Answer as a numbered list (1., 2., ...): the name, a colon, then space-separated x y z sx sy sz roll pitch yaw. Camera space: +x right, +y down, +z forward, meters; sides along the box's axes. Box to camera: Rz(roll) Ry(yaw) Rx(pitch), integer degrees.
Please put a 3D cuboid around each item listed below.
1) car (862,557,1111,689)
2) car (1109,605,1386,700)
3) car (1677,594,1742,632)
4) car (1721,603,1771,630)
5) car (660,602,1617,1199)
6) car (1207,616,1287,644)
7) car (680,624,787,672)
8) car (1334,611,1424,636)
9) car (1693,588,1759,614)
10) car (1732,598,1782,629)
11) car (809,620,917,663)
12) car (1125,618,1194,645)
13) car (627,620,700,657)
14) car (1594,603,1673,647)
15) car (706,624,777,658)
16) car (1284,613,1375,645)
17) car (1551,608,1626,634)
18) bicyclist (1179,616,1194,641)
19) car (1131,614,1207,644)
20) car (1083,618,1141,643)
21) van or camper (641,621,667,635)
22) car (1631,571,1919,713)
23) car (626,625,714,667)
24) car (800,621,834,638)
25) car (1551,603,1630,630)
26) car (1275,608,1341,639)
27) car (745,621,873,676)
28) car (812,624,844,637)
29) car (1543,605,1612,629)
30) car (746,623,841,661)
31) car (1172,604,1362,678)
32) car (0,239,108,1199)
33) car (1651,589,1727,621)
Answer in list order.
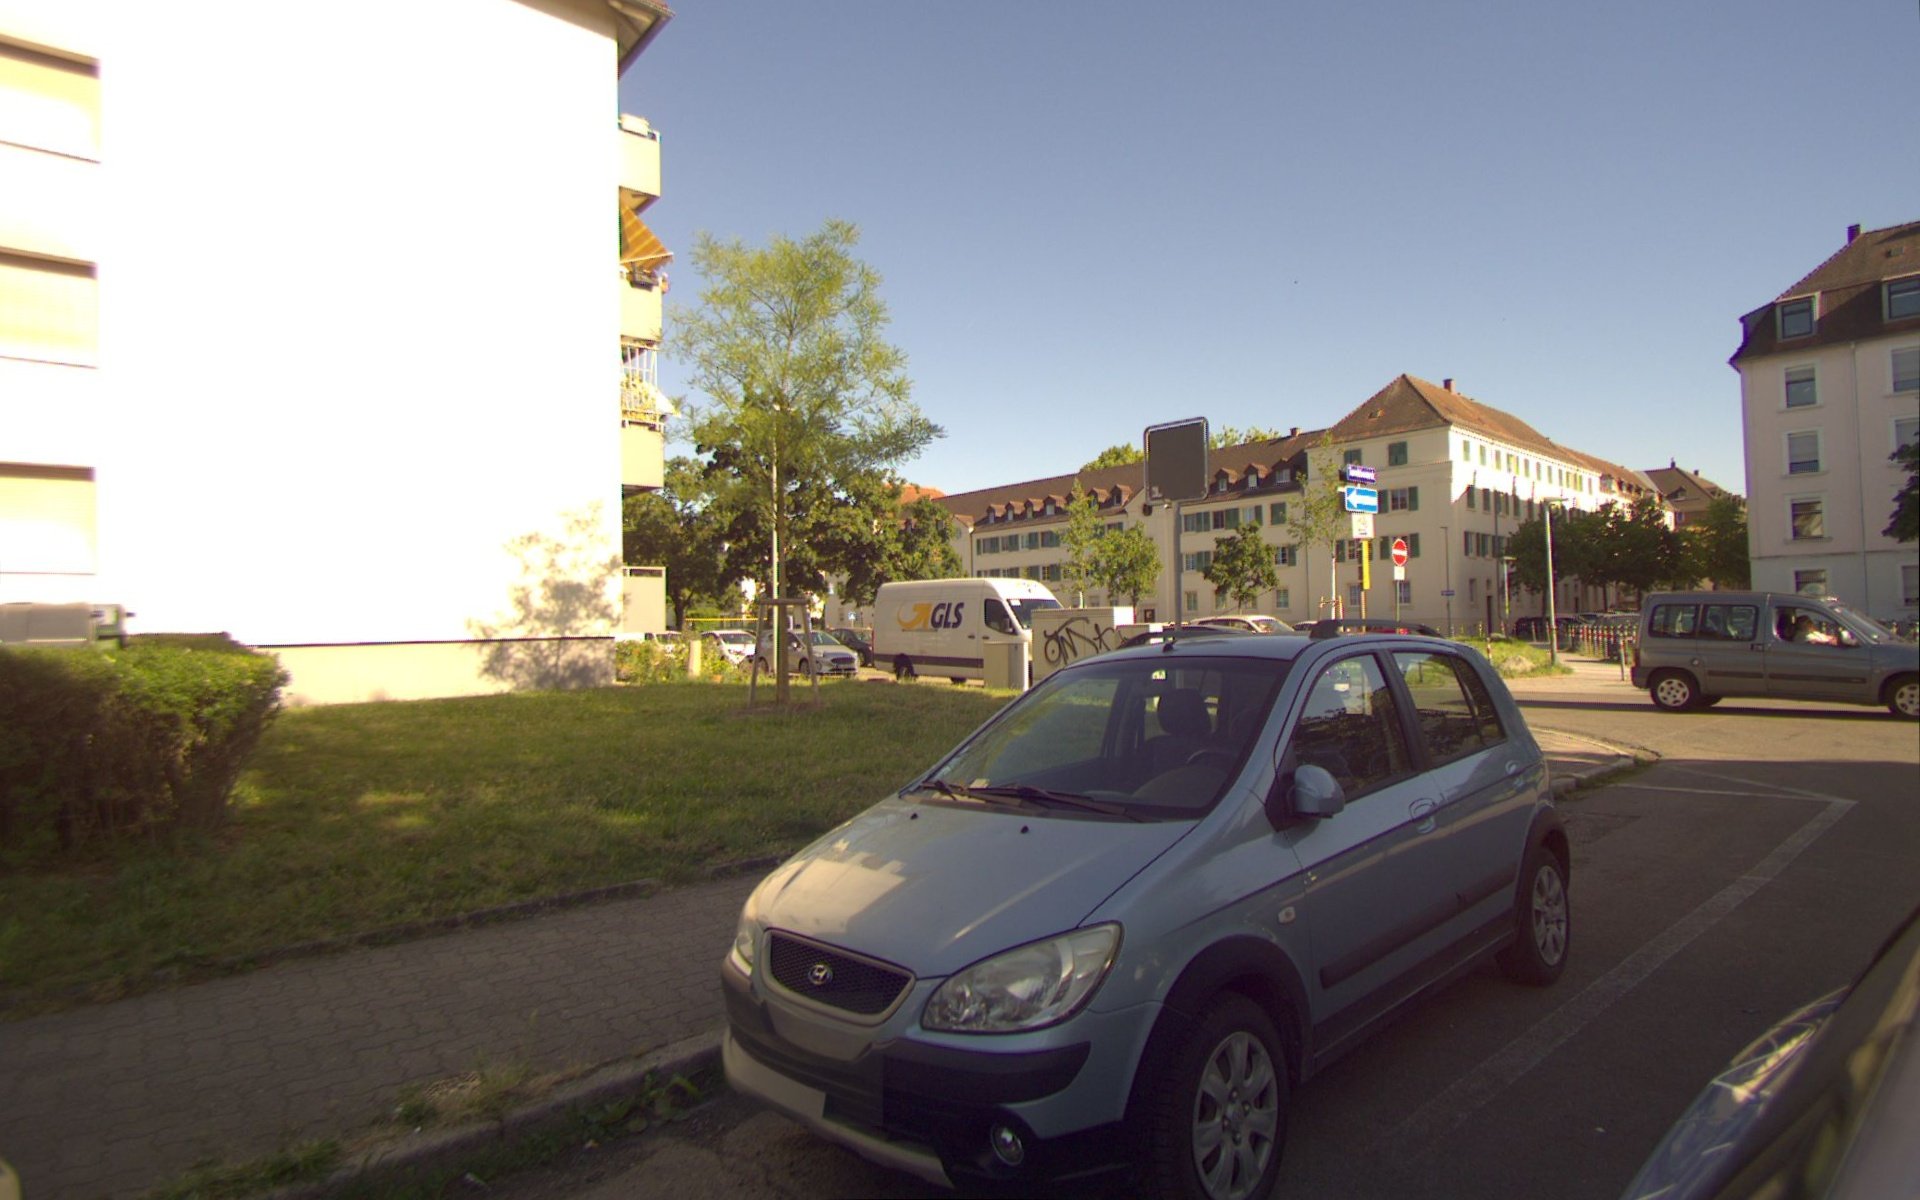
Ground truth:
1. car: 0.387 0.605 24.330 2.110 2.748 6.833 2 -3 -38
2. car: 5.017 0.913 18.215 1.930 1.501 4.491 2 -3 -40
3. car: 41.852 0.708 56.493 4.500 2.039 2.135 0 -2 -43
4. car: 49.482 1.039 63.726 3.819 1.589 1.932 0 -2 -44
5. car: 1.013 0.761 3.890 3.834 1.447 1.654 0 -2 -44
6. car: 20.358 2.136 71.940 2.122 1.910 5.150 0 -2 -40
7. car: -7.662 1.583 34.033 1.850 1.494 4.134 0 -2 -39
8. car: 26.589 1.532 64.389 1.965 1.504 4.949 1 -2 -40
9. car: 76.182 0.154 100.707 1.924 2.426 4.942 0 -2 -44
10. car: 52.962 0.878 67.190 1.994 1.999 4.972 -3 -2 45
11. car: -3.746 1.598 38.556 1.846 1.539 4.462 3 -3 -41
12. car: 13.993 2.211 71.136 2.205 1.844 4.248 0 -2 -42
13. car: -15.481 1.950 52.717 1.837 1.807 4.984 0 -1 -39
14. car: 25.951 0.959 39.144 1.909 1.597 4.308 -2 -2 26
15. car: -9.931 1.859 45.893 1.564 1.512 3.678 2 -3 -41
16. car: 22.274 1.773 61.113 2.128 1.844 4.695 0 -2 -41
17. car: 39.682 1.348 63.974 1.683 1.541 3.660 0 -2 -41
18. bicyclist: 16.486 2.057 73.638 0.663 1.826 0.800 0 -2 -40
19. car: 15.962 2.226 77.564 2.495 2.245 5.247 0 -2 -42
20. car: 12.239 2.484 81.795 2.231 1.929 4.159 0 -2 -41
21. van or camper: -45.511 4.135 150.675 2.234 2.039 4.368 0 -1 -39
22. car: 12.278 0.572 14.402 1.870 1.813 4.149 0 -2 -40
23. car: -11.013 1.711 38.228 1.696 1.454 4.146 1 -2 -39
24. car: -18.293 3.771 129.199 3.746 1.981 2.041 0 -2 -38
25. car: 42.543 1.109 68.357 1.677 1.723 4.232 0 -2 -42
26. car: 23.446 1.560 68.241 1.641 2.039 3.891 0 -2 -40
27. car: -4.605 1.445 30.492 1.823 1.484 4.193 -1 -1 -41
28. car: -13.492 3.123 103.478 1.626 1.350 3.508 0 -2 -41
29. car: 40.833 1.142 66.969 1.680 1.540 3.605 0 -2 -44
30. car: -7.047 1.769 42.520 1.730 1.511 4.659 2 -3 -41
31. car: 7.475 1.014 24.997 1.730 1.669 4.282 2 -3 -38
32. car: -3.066 0.553 0.355 4.219 1.753 1.866 0 -2 -41
33. car: 62.361 0.435 86.622 1.924 2.551 4.942 0 -2 -44
